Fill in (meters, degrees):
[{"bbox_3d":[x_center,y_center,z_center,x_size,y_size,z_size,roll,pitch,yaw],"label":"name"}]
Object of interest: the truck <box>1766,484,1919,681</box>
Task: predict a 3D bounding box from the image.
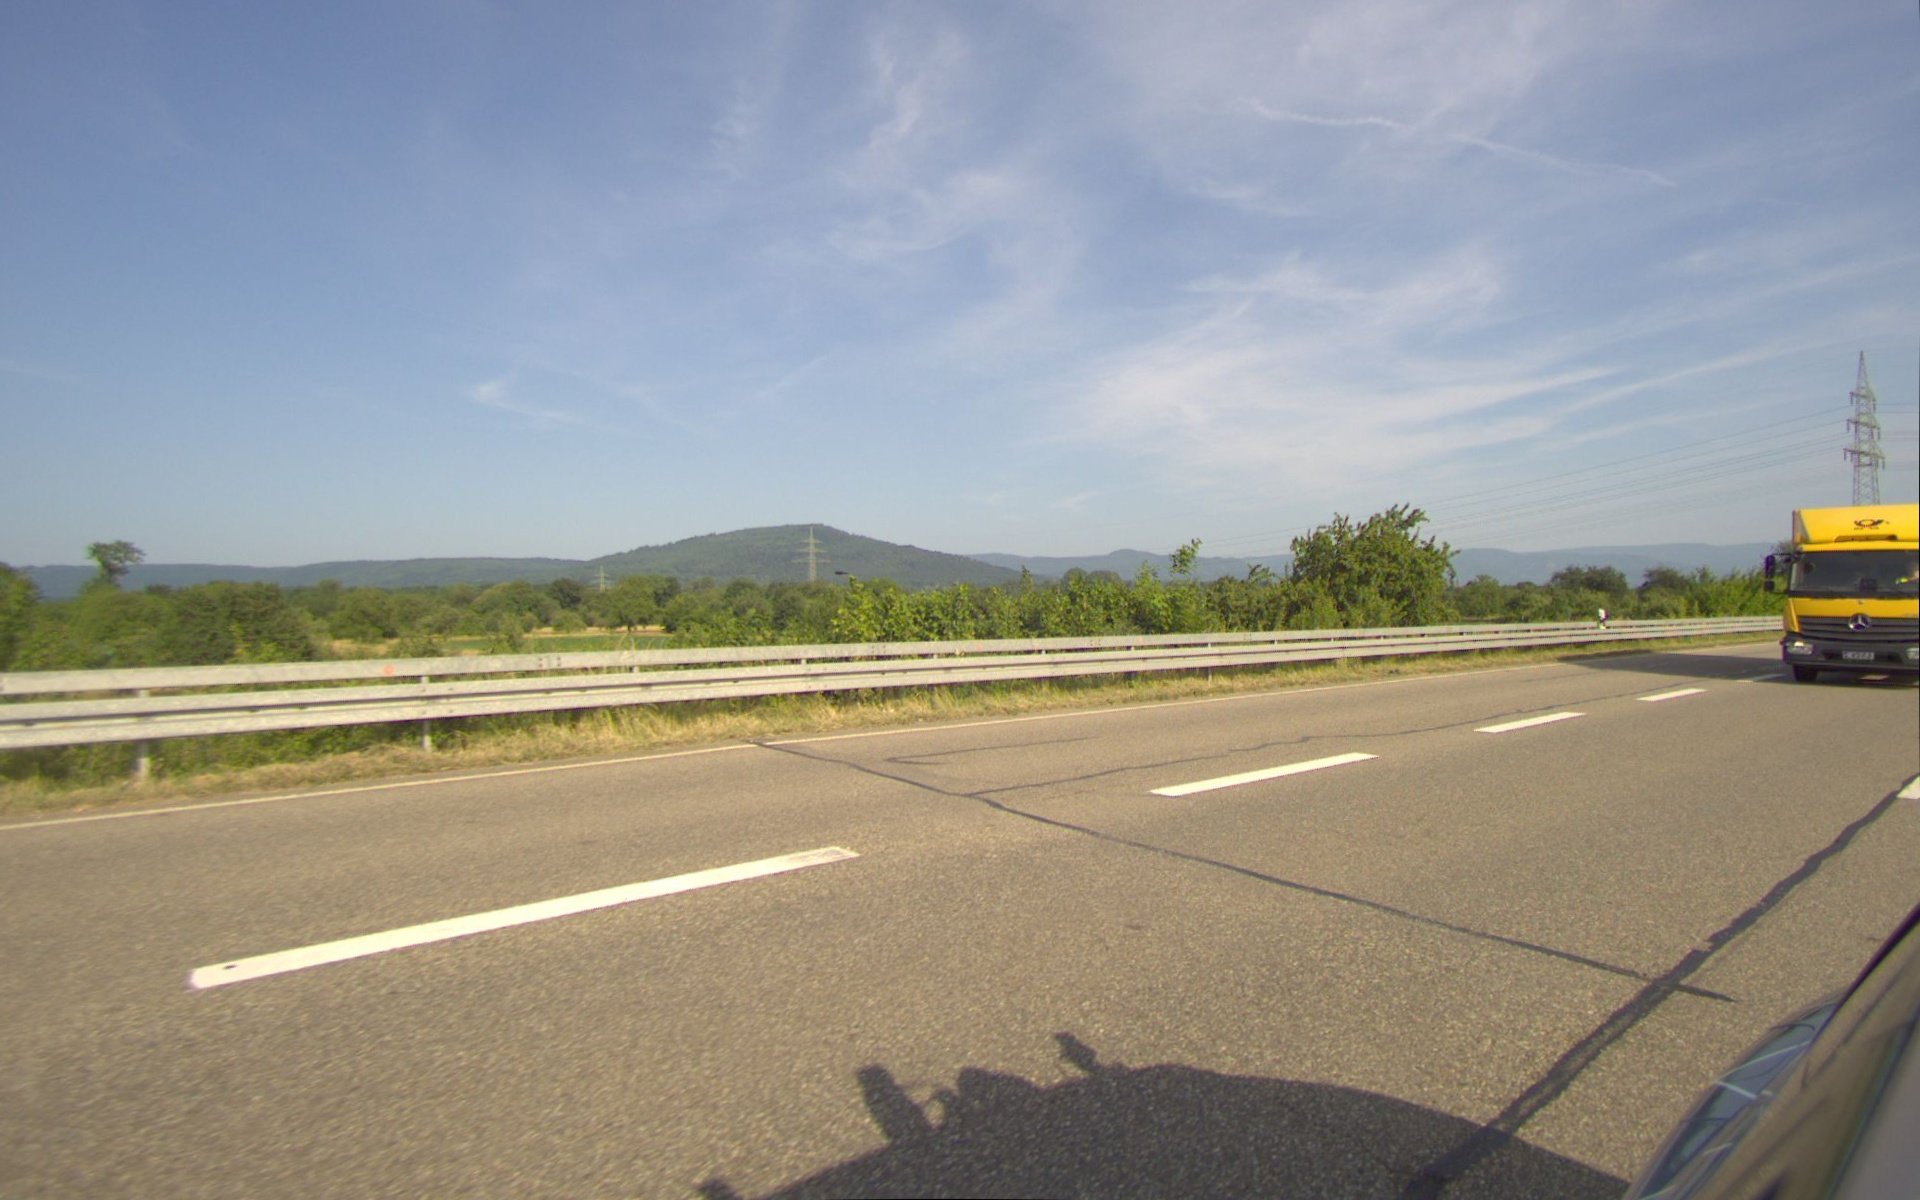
[{"bbox_3d":[19.922,-0.326,21.118,10.301,3.359,2.784,0,0,-40],"label":"truck"}]
